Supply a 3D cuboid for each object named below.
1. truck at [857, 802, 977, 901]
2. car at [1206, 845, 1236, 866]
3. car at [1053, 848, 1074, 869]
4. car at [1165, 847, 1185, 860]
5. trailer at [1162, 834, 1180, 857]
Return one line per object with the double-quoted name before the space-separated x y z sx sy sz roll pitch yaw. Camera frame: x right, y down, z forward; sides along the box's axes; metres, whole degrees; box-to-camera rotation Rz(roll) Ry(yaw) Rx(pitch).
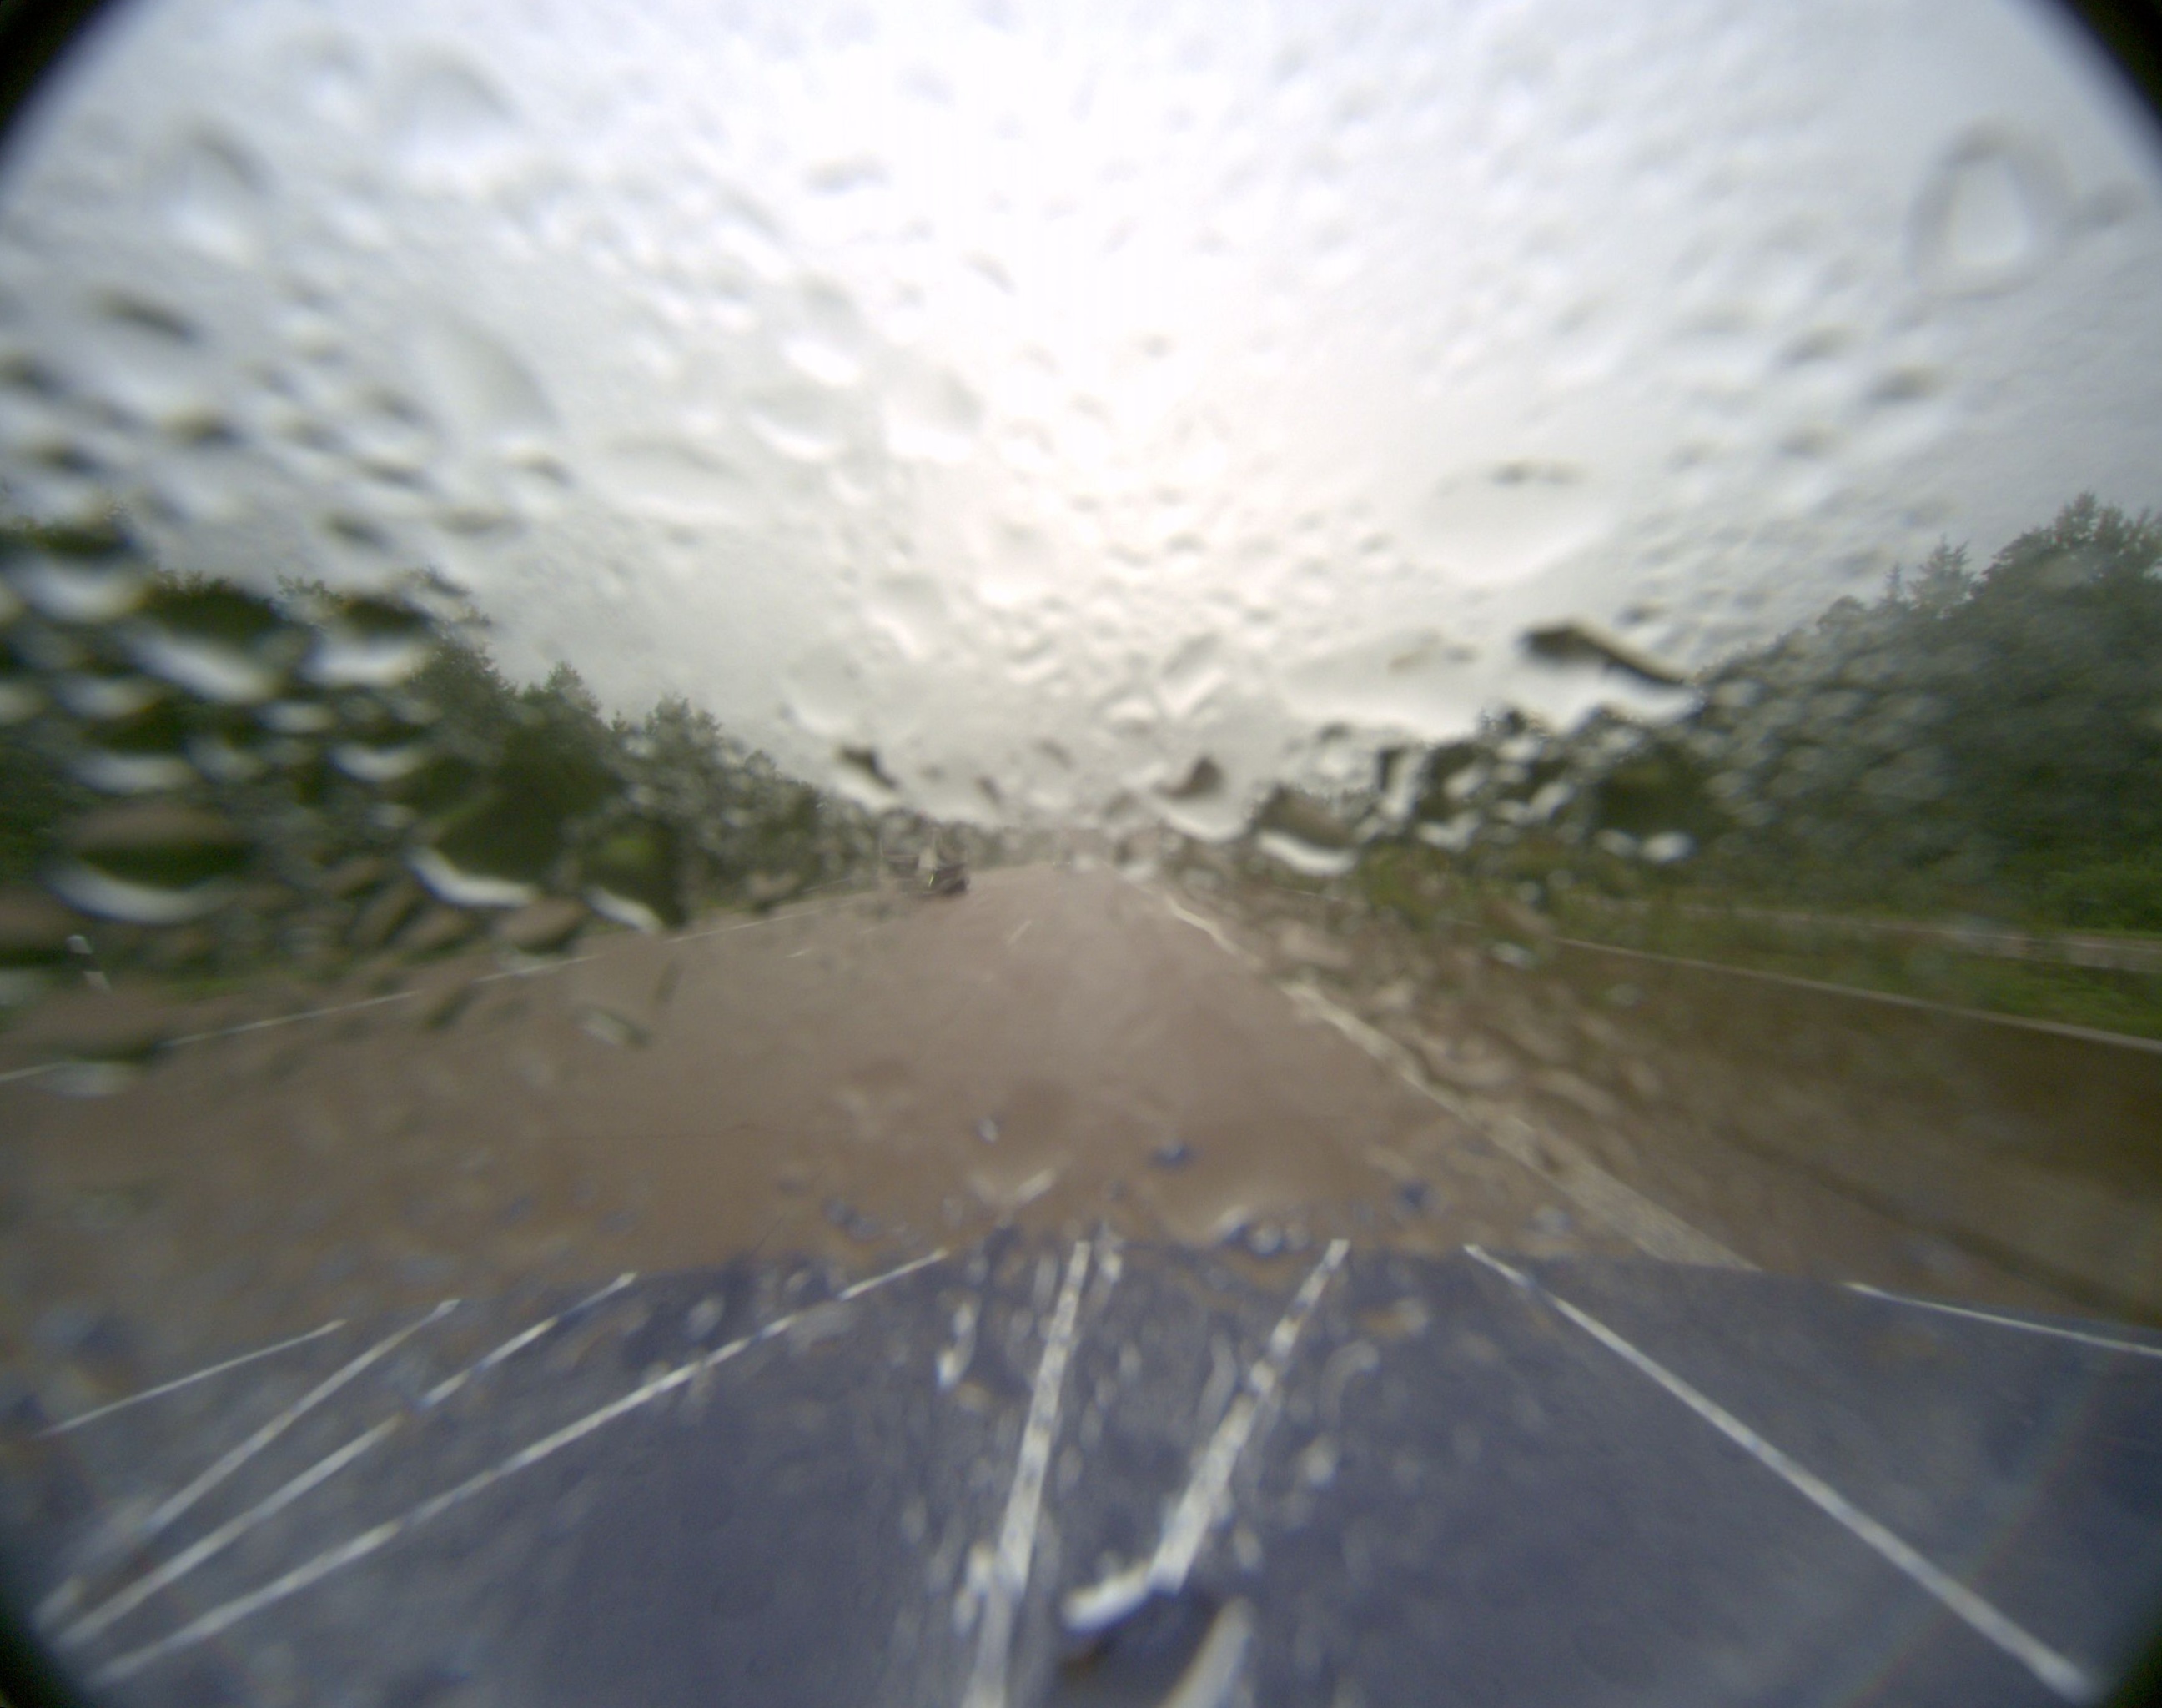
"truck" -6.900 -0.113 33.402 3.242 3.708 7.954 -2 0 1
"car" 13.697 0.142 74.614 2.094 2.002 4.798 0 1 0
"car" -1.811 0.468 79.322 1.999 2.002 4.276 -3 1 0
"car" 14.686 -0.143 119.058 2.312 2.002 5.661 0 1 0
"trailer" 20.234 -1.958 171.492 3.762 4.924 13.685 -2 0 6
